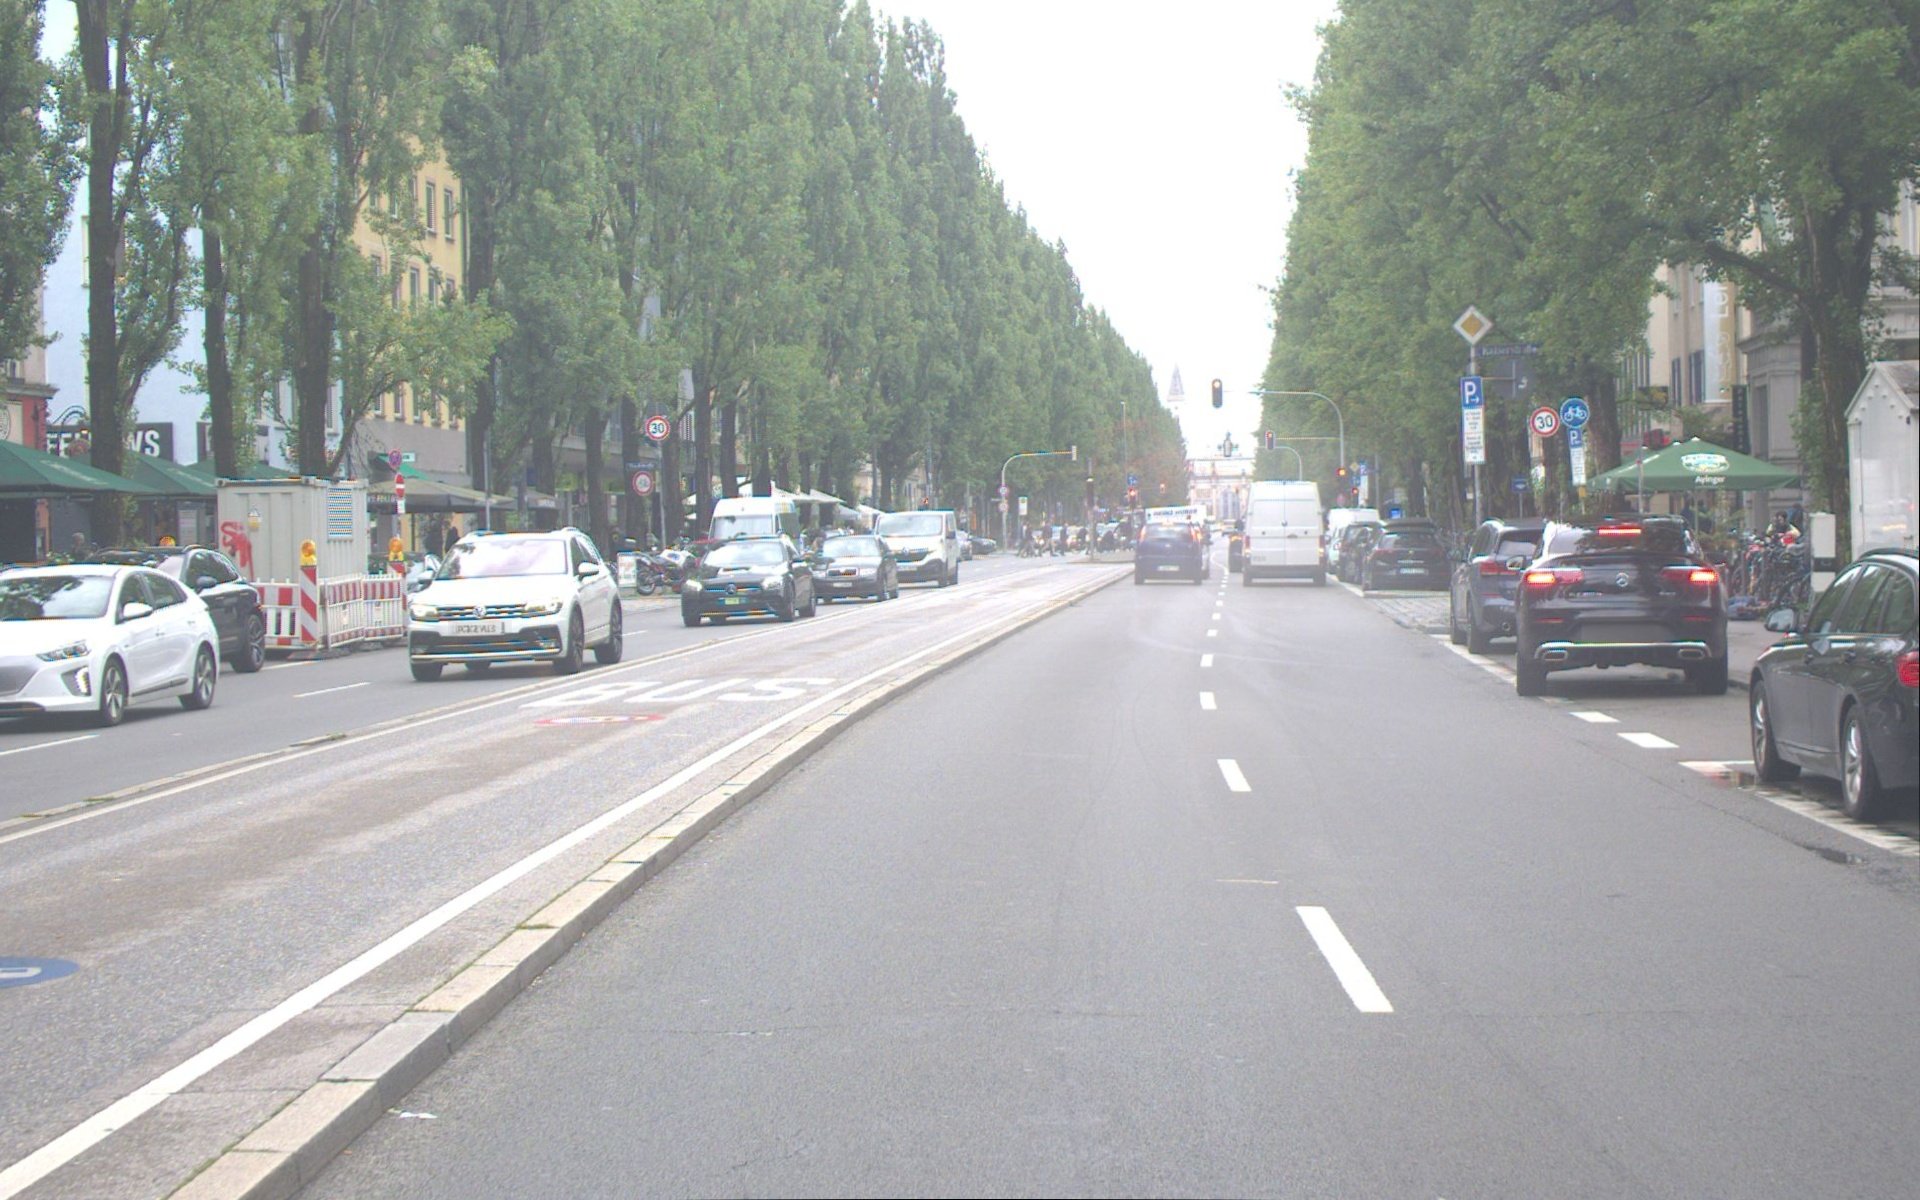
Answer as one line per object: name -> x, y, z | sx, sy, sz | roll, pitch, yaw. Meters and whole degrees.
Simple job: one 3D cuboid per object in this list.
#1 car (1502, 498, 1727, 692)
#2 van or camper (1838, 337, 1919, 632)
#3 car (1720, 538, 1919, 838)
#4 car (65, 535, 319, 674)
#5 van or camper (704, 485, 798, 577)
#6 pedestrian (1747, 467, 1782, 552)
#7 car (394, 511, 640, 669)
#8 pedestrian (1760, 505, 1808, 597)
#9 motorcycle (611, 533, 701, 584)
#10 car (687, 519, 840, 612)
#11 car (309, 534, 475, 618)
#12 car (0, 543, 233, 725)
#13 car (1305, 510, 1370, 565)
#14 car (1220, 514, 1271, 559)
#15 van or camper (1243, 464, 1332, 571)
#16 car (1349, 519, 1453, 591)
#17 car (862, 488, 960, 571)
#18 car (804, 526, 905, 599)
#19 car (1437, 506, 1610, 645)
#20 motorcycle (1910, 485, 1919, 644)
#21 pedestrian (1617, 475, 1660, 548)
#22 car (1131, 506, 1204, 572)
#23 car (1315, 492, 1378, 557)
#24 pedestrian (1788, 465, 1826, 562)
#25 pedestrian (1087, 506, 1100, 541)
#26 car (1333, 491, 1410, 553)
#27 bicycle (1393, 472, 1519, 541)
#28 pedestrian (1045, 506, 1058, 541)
car -> 6.127, -0.106, 31.995 | 1.881, 1.636, 4.581 | -1, 2, 12
van or camper -> 11.493, -1.317, 38.418 | 2.460, 3.101, 4.715 | -2, 1, 5
car -> 5.503, 0.386, 19.054 | 1.733, 1.389, 4.433 | -2, 1, 2
car -> -9.685, 0.014, 43.717 | 1.849, 1.559, 4.332 | -2, 2, 5
van or camper -> -5.748, -1.925, 95.044 | 1.994, 2.450, 4.251 | -1, 1, 4
pedestrian -> 15.600, -1.751, 66.680 | 0.648, 1.641, 0.765 | 0, 1, 14
car -> -5.015, -0.165, 39.517 | 1.939, 1.636, 4.463 | -2, 1, 4
pedestrian -> 14.956, -0.892, 62.419 | 0.669, 1.645, 0.625 | 0, 2, 31
motorcycle -> -7.242, -1.006, 82.122 | 1.238, 1.136, 3.716 | -1, 1, 9
car -> -3.323, -0.629, 59.106 | 1.994, 1.427, 4.772 | -2, 2, 4
car -> -9.073, -0.408, 55.176 | 1.810, 1.246, 3.700 | -1, 1, 4
car -> -8.298, 0.275, 31.751 | 1.939, 1.488, 4.456 | -2, 1, 4
car -> 11.124, -1.825, 101.416 | 1.763, 1.590, 4.000 | 0, 1, 4
car -> 8.729, -1.963, 105.203 | 1.504, 1.308, 3.283 | -1, 1, 4
van or camper -> 7.968, -1.983, 83.905 | 2.035, 2.467, 3.999 | -1, 0, 4
car -> 9.630, -1.001, 75.322 | 1.944, 1.462, 4.000 | -1, 1, 3
car -> -1.209, -1.779, 87.394 | 1.994, 1.927, 4.918 | -3, 1, 4
car -> -2.172, -0.800, 71.550 | 1.712, 1.409, 3.723 | -1, 1, 4
car -> 6.815, -0.337, 41.893 | 1.624, 1.560, 4.371 | -1, 2, 4
motorcycle -> 8.636, -0.291, 28.596 | 0.826, 1.365, 2.253 | -2, 1, 1
pedestrian -> 16.616, -2.156, 84.172 | 0.813, 1.749, 0.933 | -2, 1, 0
car -> 5.213, -1.505, 85.959 | 1.759, 1.614, 3.746 | 0, 1, 5
car -> 12.049, -2.341, 107.392 | 1.805, 1.985, 4.000 | 0, 1, 4
pedestrian -> 16.406, -1.669, 66.592 | 0.701, 1.866, 0.765 | 0, 1, 14
pedestrian -> 6.561, -3.775, 169.081 | 0.553, 1.710, 0.493 | -2, 1, 5
car -> 10.746, -2.027, 89.984 | 1.805, 1.590, 4.000 | 0, 1, 4
bicycle -> 14.612, -2.756, 101.240 | 3.551, 2.007, 1.296 | 0, 1, 13
pedestrian -> 4.504, -3.786, 169.367 | 0.553, 1.710, 0.493 | -2, 1, 5
